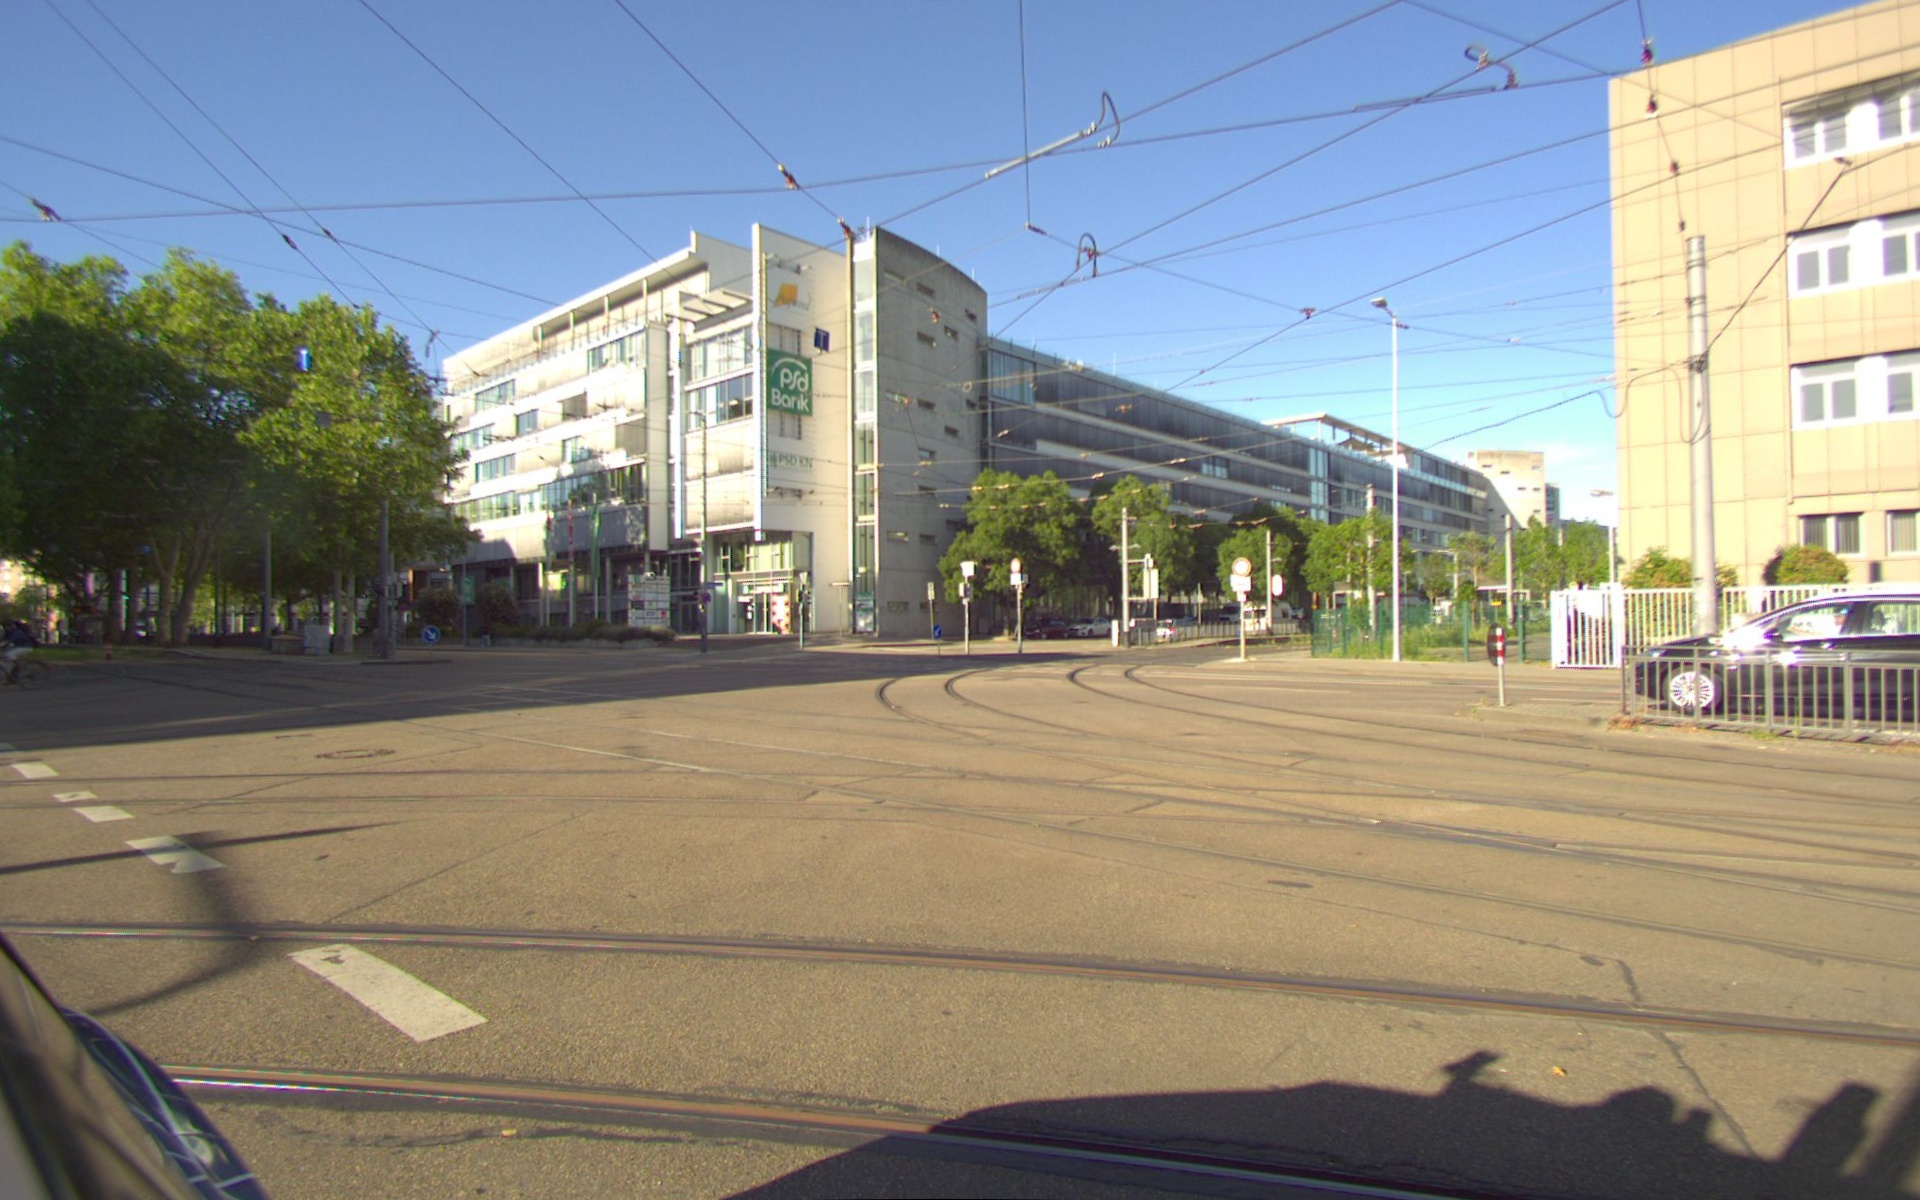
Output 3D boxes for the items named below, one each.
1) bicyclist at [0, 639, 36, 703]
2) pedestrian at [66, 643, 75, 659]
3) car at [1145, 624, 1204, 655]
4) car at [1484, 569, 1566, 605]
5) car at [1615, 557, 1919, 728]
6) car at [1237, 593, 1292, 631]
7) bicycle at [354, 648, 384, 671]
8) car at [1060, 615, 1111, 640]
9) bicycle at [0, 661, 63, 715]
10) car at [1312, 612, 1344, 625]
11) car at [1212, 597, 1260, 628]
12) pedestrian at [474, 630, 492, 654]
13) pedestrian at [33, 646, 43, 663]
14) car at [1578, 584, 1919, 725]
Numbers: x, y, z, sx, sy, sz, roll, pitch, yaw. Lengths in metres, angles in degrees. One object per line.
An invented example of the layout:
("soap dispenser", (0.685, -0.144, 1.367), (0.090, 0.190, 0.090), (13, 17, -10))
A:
("bicyclist", (-23.215, 1.720, 24.621), (0.719, 1.505, 0.874), (-2, -1, 25))
("pedestrian", (-85.403, 4.924, 97.165), (0.549, 1.508, 0.548), (-2, -1, 31))
("car", (12.900, 2.372, 60.774), (2.104, 1.710, 3.923), (-2, -1, 35))
("car", (34.706, -0.785, 62.185), (3.998, 2.029, 1.972), (-3, -1, 42))
("car", (11.227, 0.499, 12.891), (1.969, 1.962, 4.430), (-1, -1, -42))
("car", (21.223, 0.828, 70.478), (2.180, 2.524, 4.343), (-2, -1, 39))
("bicycle", (-25.860, 2.581, 44.275), (0.803, 0.953, 1.728), (-1, -1, -42))
("car", (9.021, 1.939, 72.635), (1.734, 1.666, 3.900), (-2, -1, 41))
("bicycle", (-23.211, 2.158, 24.604), (0.587, 1.198, 2.025), (-2, 0, 25))
("car", (39.121, 1.960, 107.440), (1.998, 1.356, 3.948), (-2, -1, 39))
("car", (24.819, 1.128, 90.917), (2.230, 2.674, 5.062), (-2, -1, 39))
("pedestrian", (-32.864, 2.881, 69.685), (0.767, 1.604, 0.896), (-2, -2, 42))
("pedestrian", (-97.250, 5.732, 106.757), (0.674, 1.767, 0.649), (-2, -1, 34))
("car", (10.969, 0.663, 13.115), (4.753, 1.629, 1.973), (-2, -2, 41))
